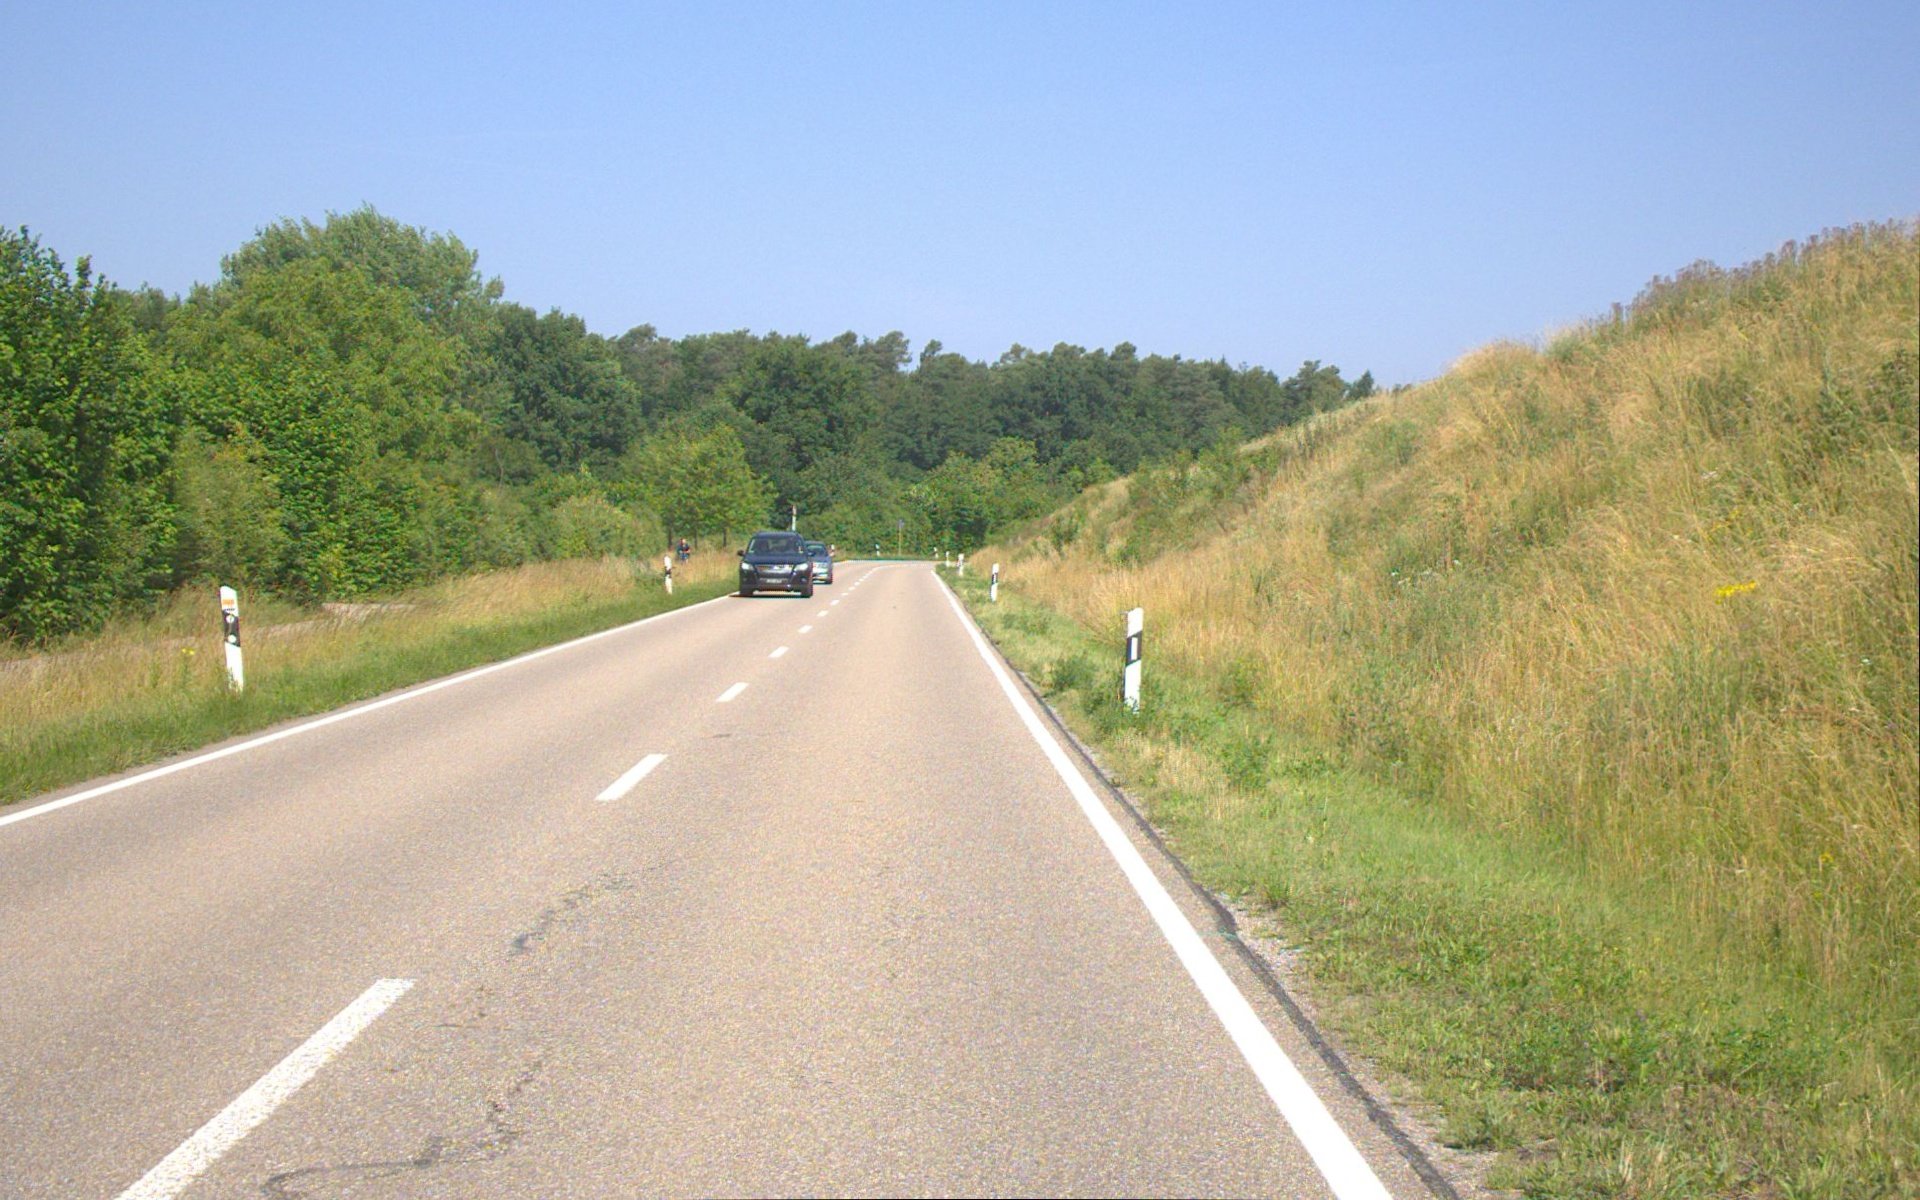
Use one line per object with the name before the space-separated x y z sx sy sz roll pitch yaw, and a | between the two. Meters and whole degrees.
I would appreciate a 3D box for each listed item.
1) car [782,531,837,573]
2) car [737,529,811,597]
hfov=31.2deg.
car | -5.038 -1.603 115.476 1.722 1.349 4.000 2 1 -1
car | -4.716 -0.957 87.591 1.716 1.641 3.915 1 1 -1
